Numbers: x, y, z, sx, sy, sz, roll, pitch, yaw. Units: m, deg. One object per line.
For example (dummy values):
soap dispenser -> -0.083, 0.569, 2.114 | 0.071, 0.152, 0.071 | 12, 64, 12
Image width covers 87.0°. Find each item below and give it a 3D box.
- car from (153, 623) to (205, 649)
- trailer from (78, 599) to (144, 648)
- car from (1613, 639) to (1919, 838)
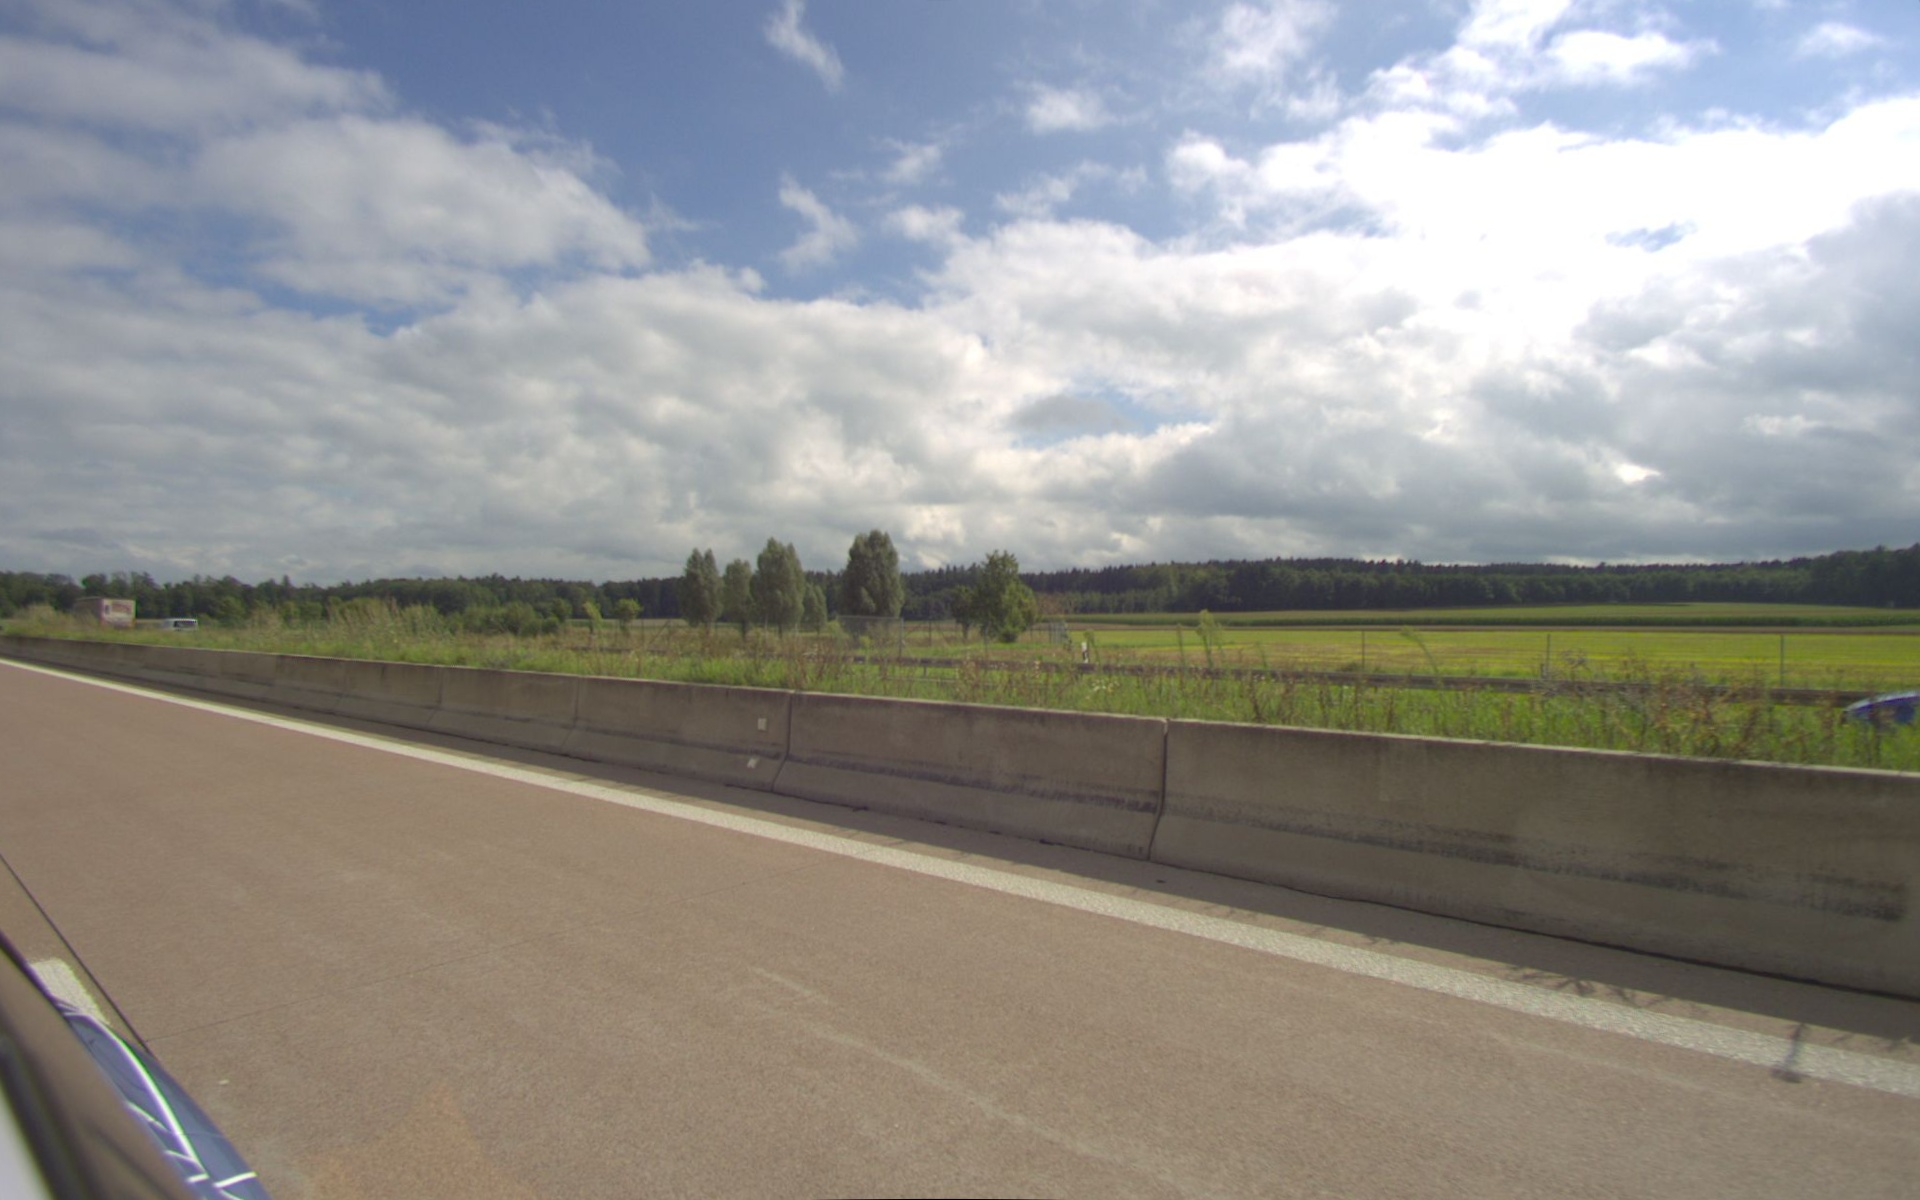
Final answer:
car -> -59.688, 2.740, 77.302 | 5.725, 1.860, 2.037 | -1, -2, 41
trailer -> -80.479, 2.225, 95.813 | 12.090, 4.296, 2.990 | -2, -1, 42
car -> 10.210, 1.345, 9.990 | 6.099, 1.860, 1.973 | -1, -2, 41
